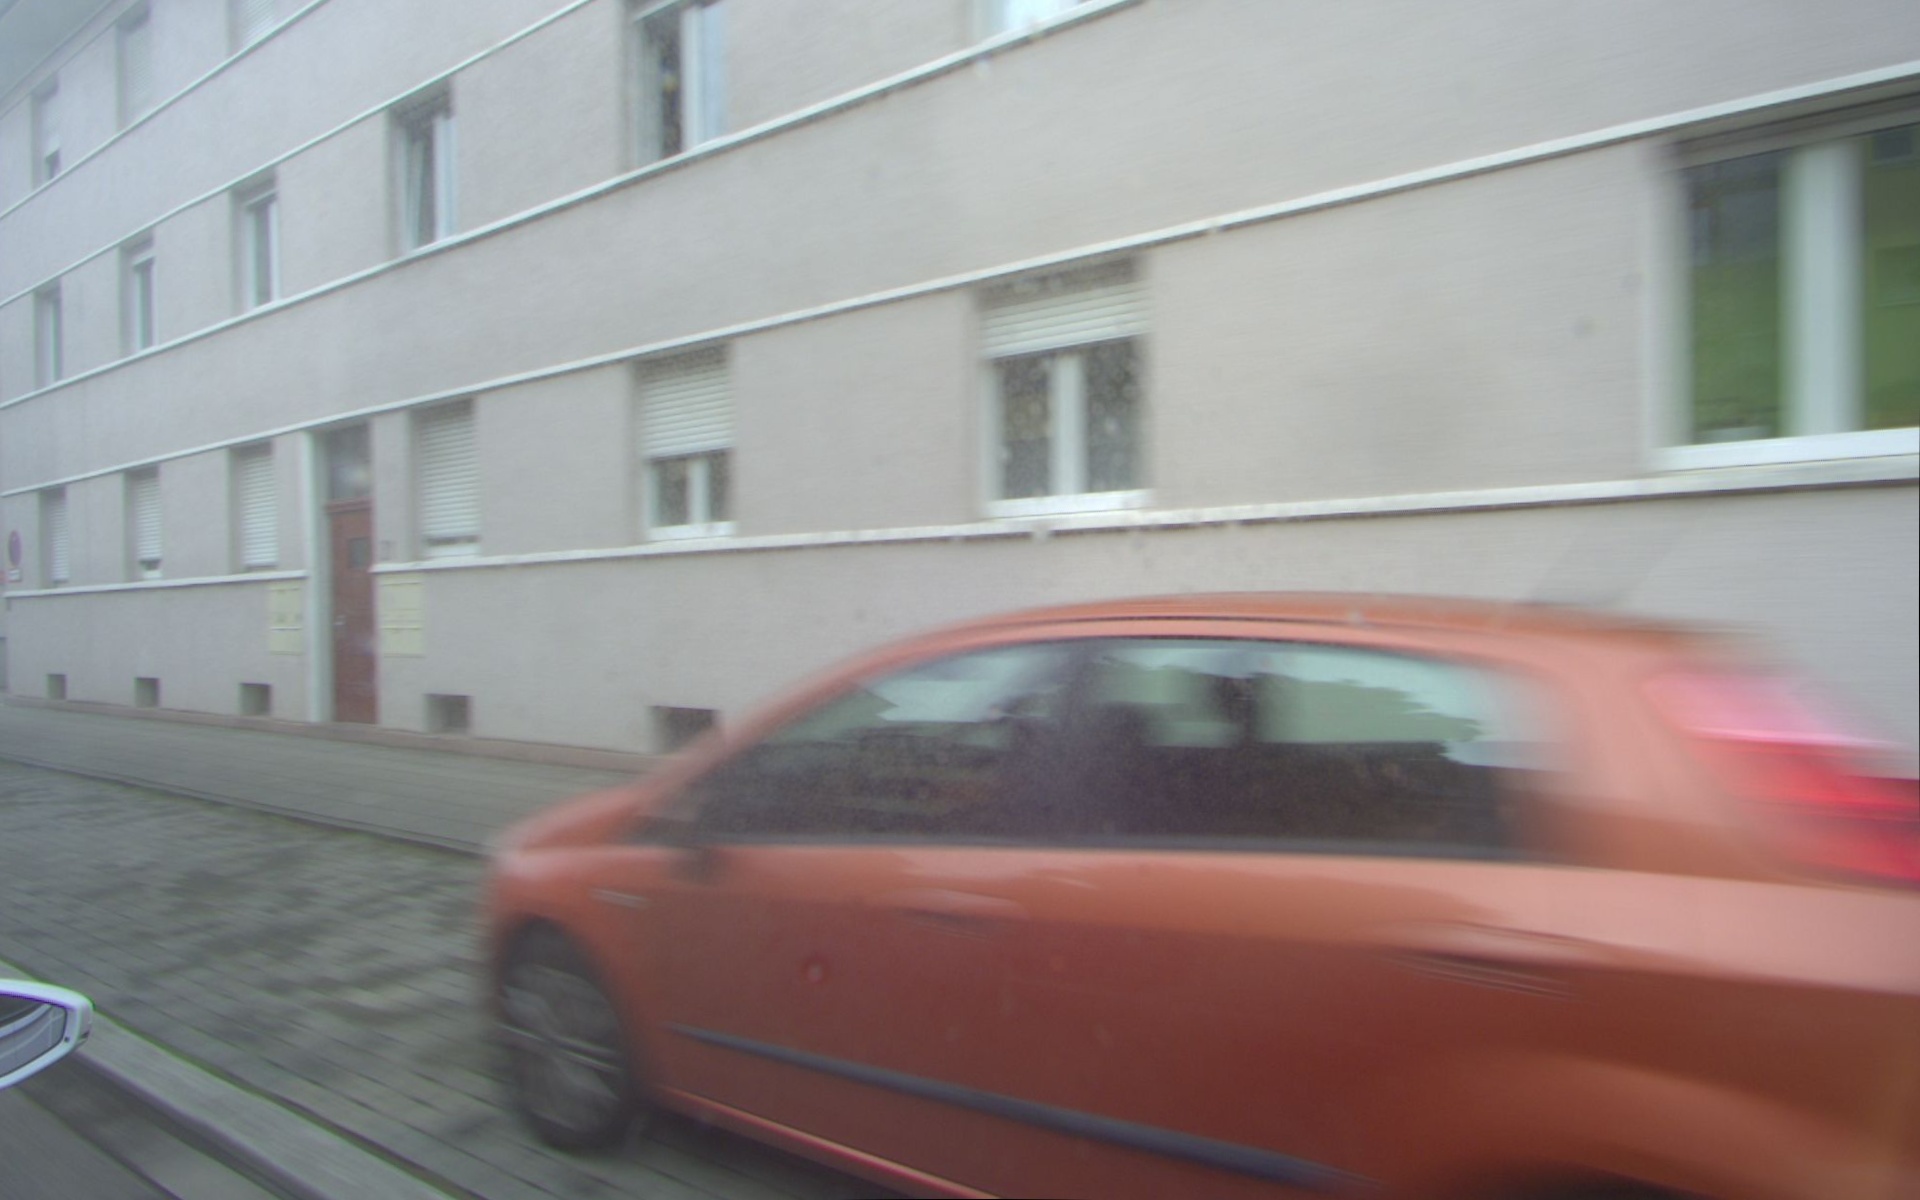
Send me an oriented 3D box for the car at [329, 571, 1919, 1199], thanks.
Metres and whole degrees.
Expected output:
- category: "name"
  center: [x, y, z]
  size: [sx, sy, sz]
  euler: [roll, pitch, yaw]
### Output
- category: "car"
  center: [0.044, 0.754, 2.879]
  size: [3.771, 1.545, 1.693]
  euler: [-1, 0, 33]
